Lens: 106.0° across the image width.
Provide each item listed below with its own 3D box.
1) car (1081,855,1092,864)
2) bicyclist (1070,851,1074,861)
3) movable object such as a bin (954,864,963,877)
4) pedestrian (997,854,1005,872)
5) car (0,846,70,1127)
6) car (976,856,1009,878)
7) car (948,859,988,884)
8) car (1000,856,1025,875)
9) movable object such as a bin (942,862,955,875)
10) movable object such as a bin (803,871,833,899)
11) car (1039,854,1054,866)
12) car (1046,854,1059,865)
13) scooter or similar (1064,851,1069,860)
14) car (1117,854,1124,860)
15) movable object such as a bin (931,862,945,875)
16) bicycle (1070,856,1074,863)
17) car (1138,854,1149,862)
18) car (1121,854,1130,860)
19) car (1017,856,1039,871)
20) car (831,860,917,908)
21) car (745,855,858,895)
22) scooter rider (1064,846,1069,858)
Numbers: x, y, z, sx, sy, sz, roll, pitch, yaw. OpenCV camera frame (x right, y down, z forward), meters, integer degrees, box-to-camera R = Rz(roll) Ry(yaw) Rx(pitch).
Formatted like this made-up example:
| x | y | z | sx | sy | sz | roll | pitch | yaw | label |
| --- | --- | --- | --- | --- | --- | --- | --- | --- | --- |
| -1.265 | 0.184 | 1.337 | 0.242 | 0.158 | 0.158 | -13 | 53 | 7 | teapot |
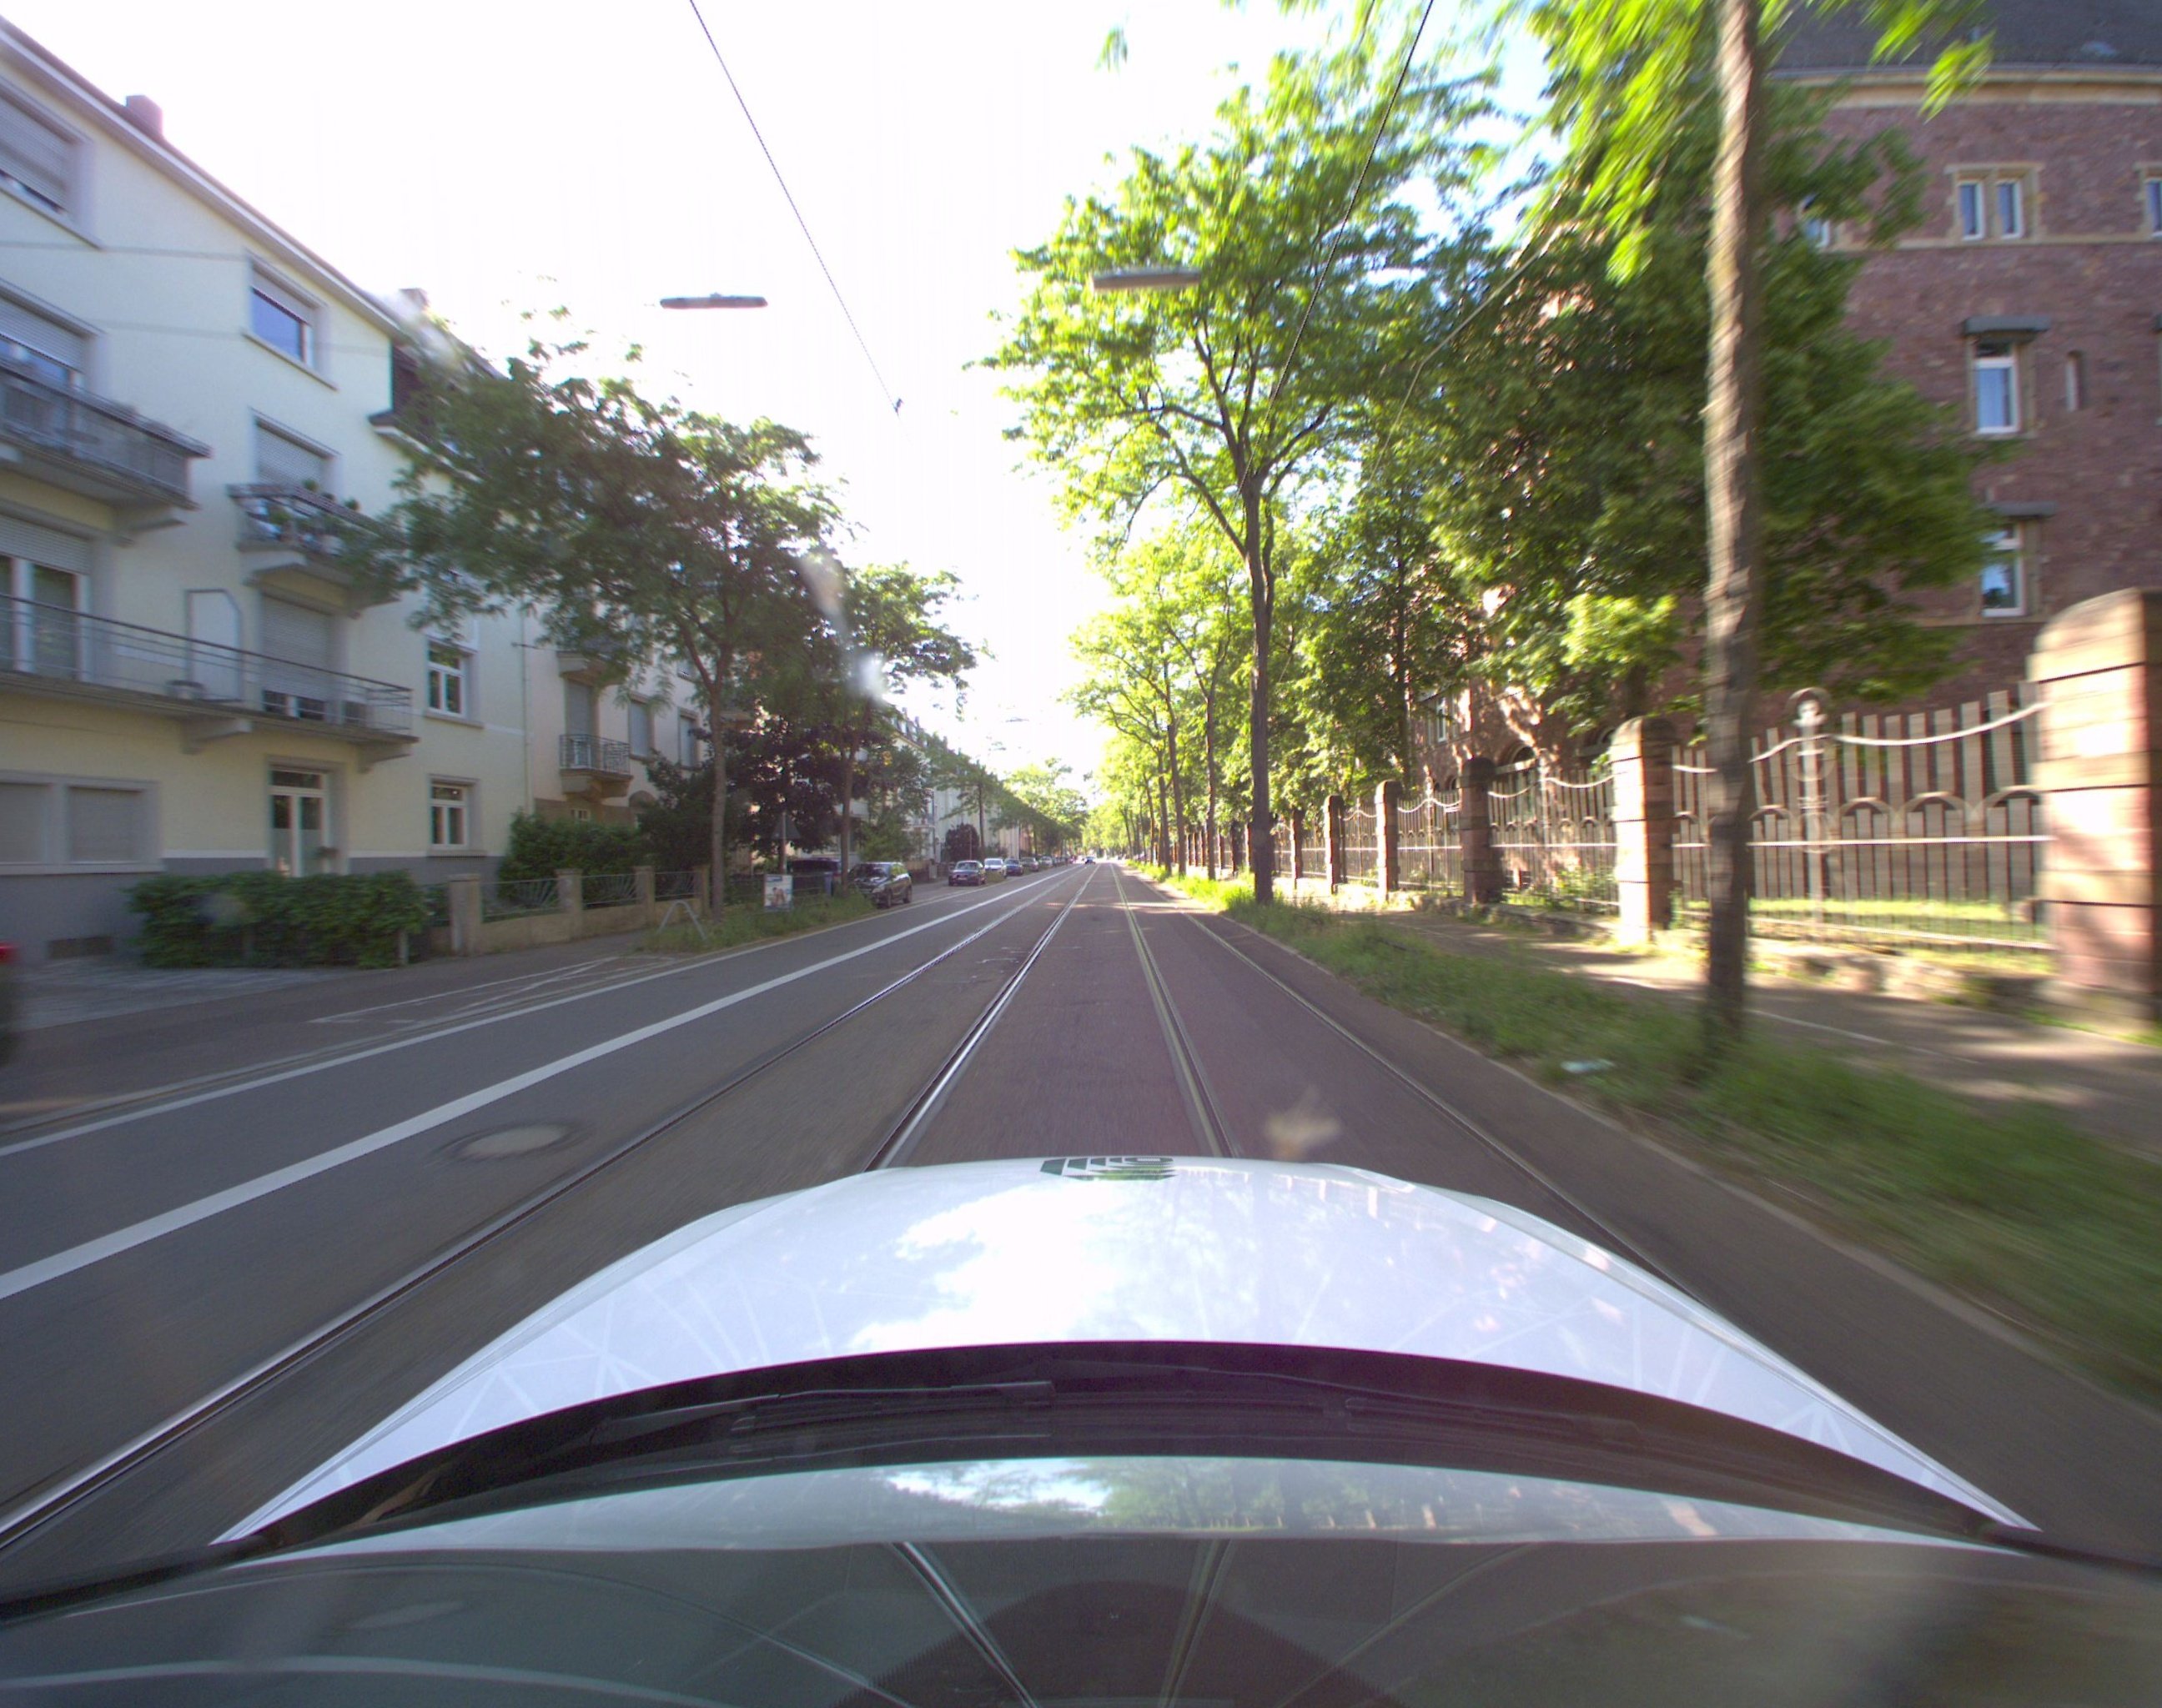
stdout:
| x | y | z | sx | sy | sz | roll | pitch | yaw | label |
| --- | --- | --- | --- | --- | --- | --- | --- | --- | --- |
| 0.998 | 0.866 | 138.096 | 1.752 | 1.439 | 4.524 | -1 | 0 | 1 | car |
| -1.569 | 0.402 | 139.306 | 0.624 | 1.639 | 0.940 | -4 | 0 | 2 | bicyclist |
| -9.573 | 1.312 | 63.499 | 0.557 | 0.975 | 0.733 | 0 | 0 | 5 | movable object such as a bin |
| -8.003 | 0.865 | 81.531 | 0.689 | 1.801 | 0.813 | -2 | 0 | 1 | pedestrian |
| -7.966 | 0.877 | 3.262 | 1.864 | 1.823 | 4.771 | -1 | 0 | 0 | car |
| -6.402 | 0.949 | 59.342 | 1.811 | 1.511 | 4.371 | 0 | 0 | 1 | car |
| -6.605 | 1.002 | 48.133 | 1.699 | 1.406 | 4.334 | 0 | 0 | 1 | car |
| -5.841 | 0.940 | 69.706 | 1.752 | 1.511 | 4.439 | 0 | 0 | 1 | car |
| -10.295 | 1.117 | 63.444 | 0.841 | 1.046 | 0.733 | 0 | 0 | 4 | movable object such as a bin |
| -10.488 | 1.219 | 32.544 | 0.872 | 1.066 | 0.814 | -2 | 0 | 2 | movable object such as a bin |
| -4.572 | 0.768 | 109.188 | 1.696 | 1.485 | 4.080 | 1 | 0 | 2 | car |
| -4.091 | 0.742 | 117.279 | 1.681 | 1.485 | 3.760 | 1 | 0 | 1 | car |
| -2.212 | 0.179 | 125.601 | 0.518 | 1.297 | 1.378 | -5 | 0 | 2 | scooter or similar |
| 11.735 | 0.881 | 242.095 | 1.938 | 1.610 | 3.995 | -1 | 0 | -3 | car |
| -11.155 | 1.115 | 63.501 | 0.841 | 1.046 | 0.733 | 0 | 0 | 4 | movable object such as a bin |
| -1.535 | 0.923 | 139.402 | 0.624 | 1.177 | 1.914 | -4 | 0 | 2 | bicycle |
| 13.124 | 0.893 | 170.835 | 1.833 | 1.655 | 3.578 | -1 | 0 | 0 | car |
| 12.522 | 0.756 | 227.952 | 1.939 | 1.610 | 3.995 | -1 | 0 | -4 | car |
| -5.384 | 0.972 | 82.884 | 1.810 | 1.485 | 4.208 | 0 | 0 | 2 | car |
| -7.233 | 1.003 | 28.971 | 1.770 | 1.541 | 4.487 | 0 | 0 | 2 | car |
| -11.998 | 0.881 | 35.179 | 4.152 | 1.659 | 1.983 | -1 | 0 | 0 | car |
| -2.262 | -0.287 | 125.581 | 0.495 | 1.699 | 0.787 | -5 | 0 | 2 | scooter rider |
